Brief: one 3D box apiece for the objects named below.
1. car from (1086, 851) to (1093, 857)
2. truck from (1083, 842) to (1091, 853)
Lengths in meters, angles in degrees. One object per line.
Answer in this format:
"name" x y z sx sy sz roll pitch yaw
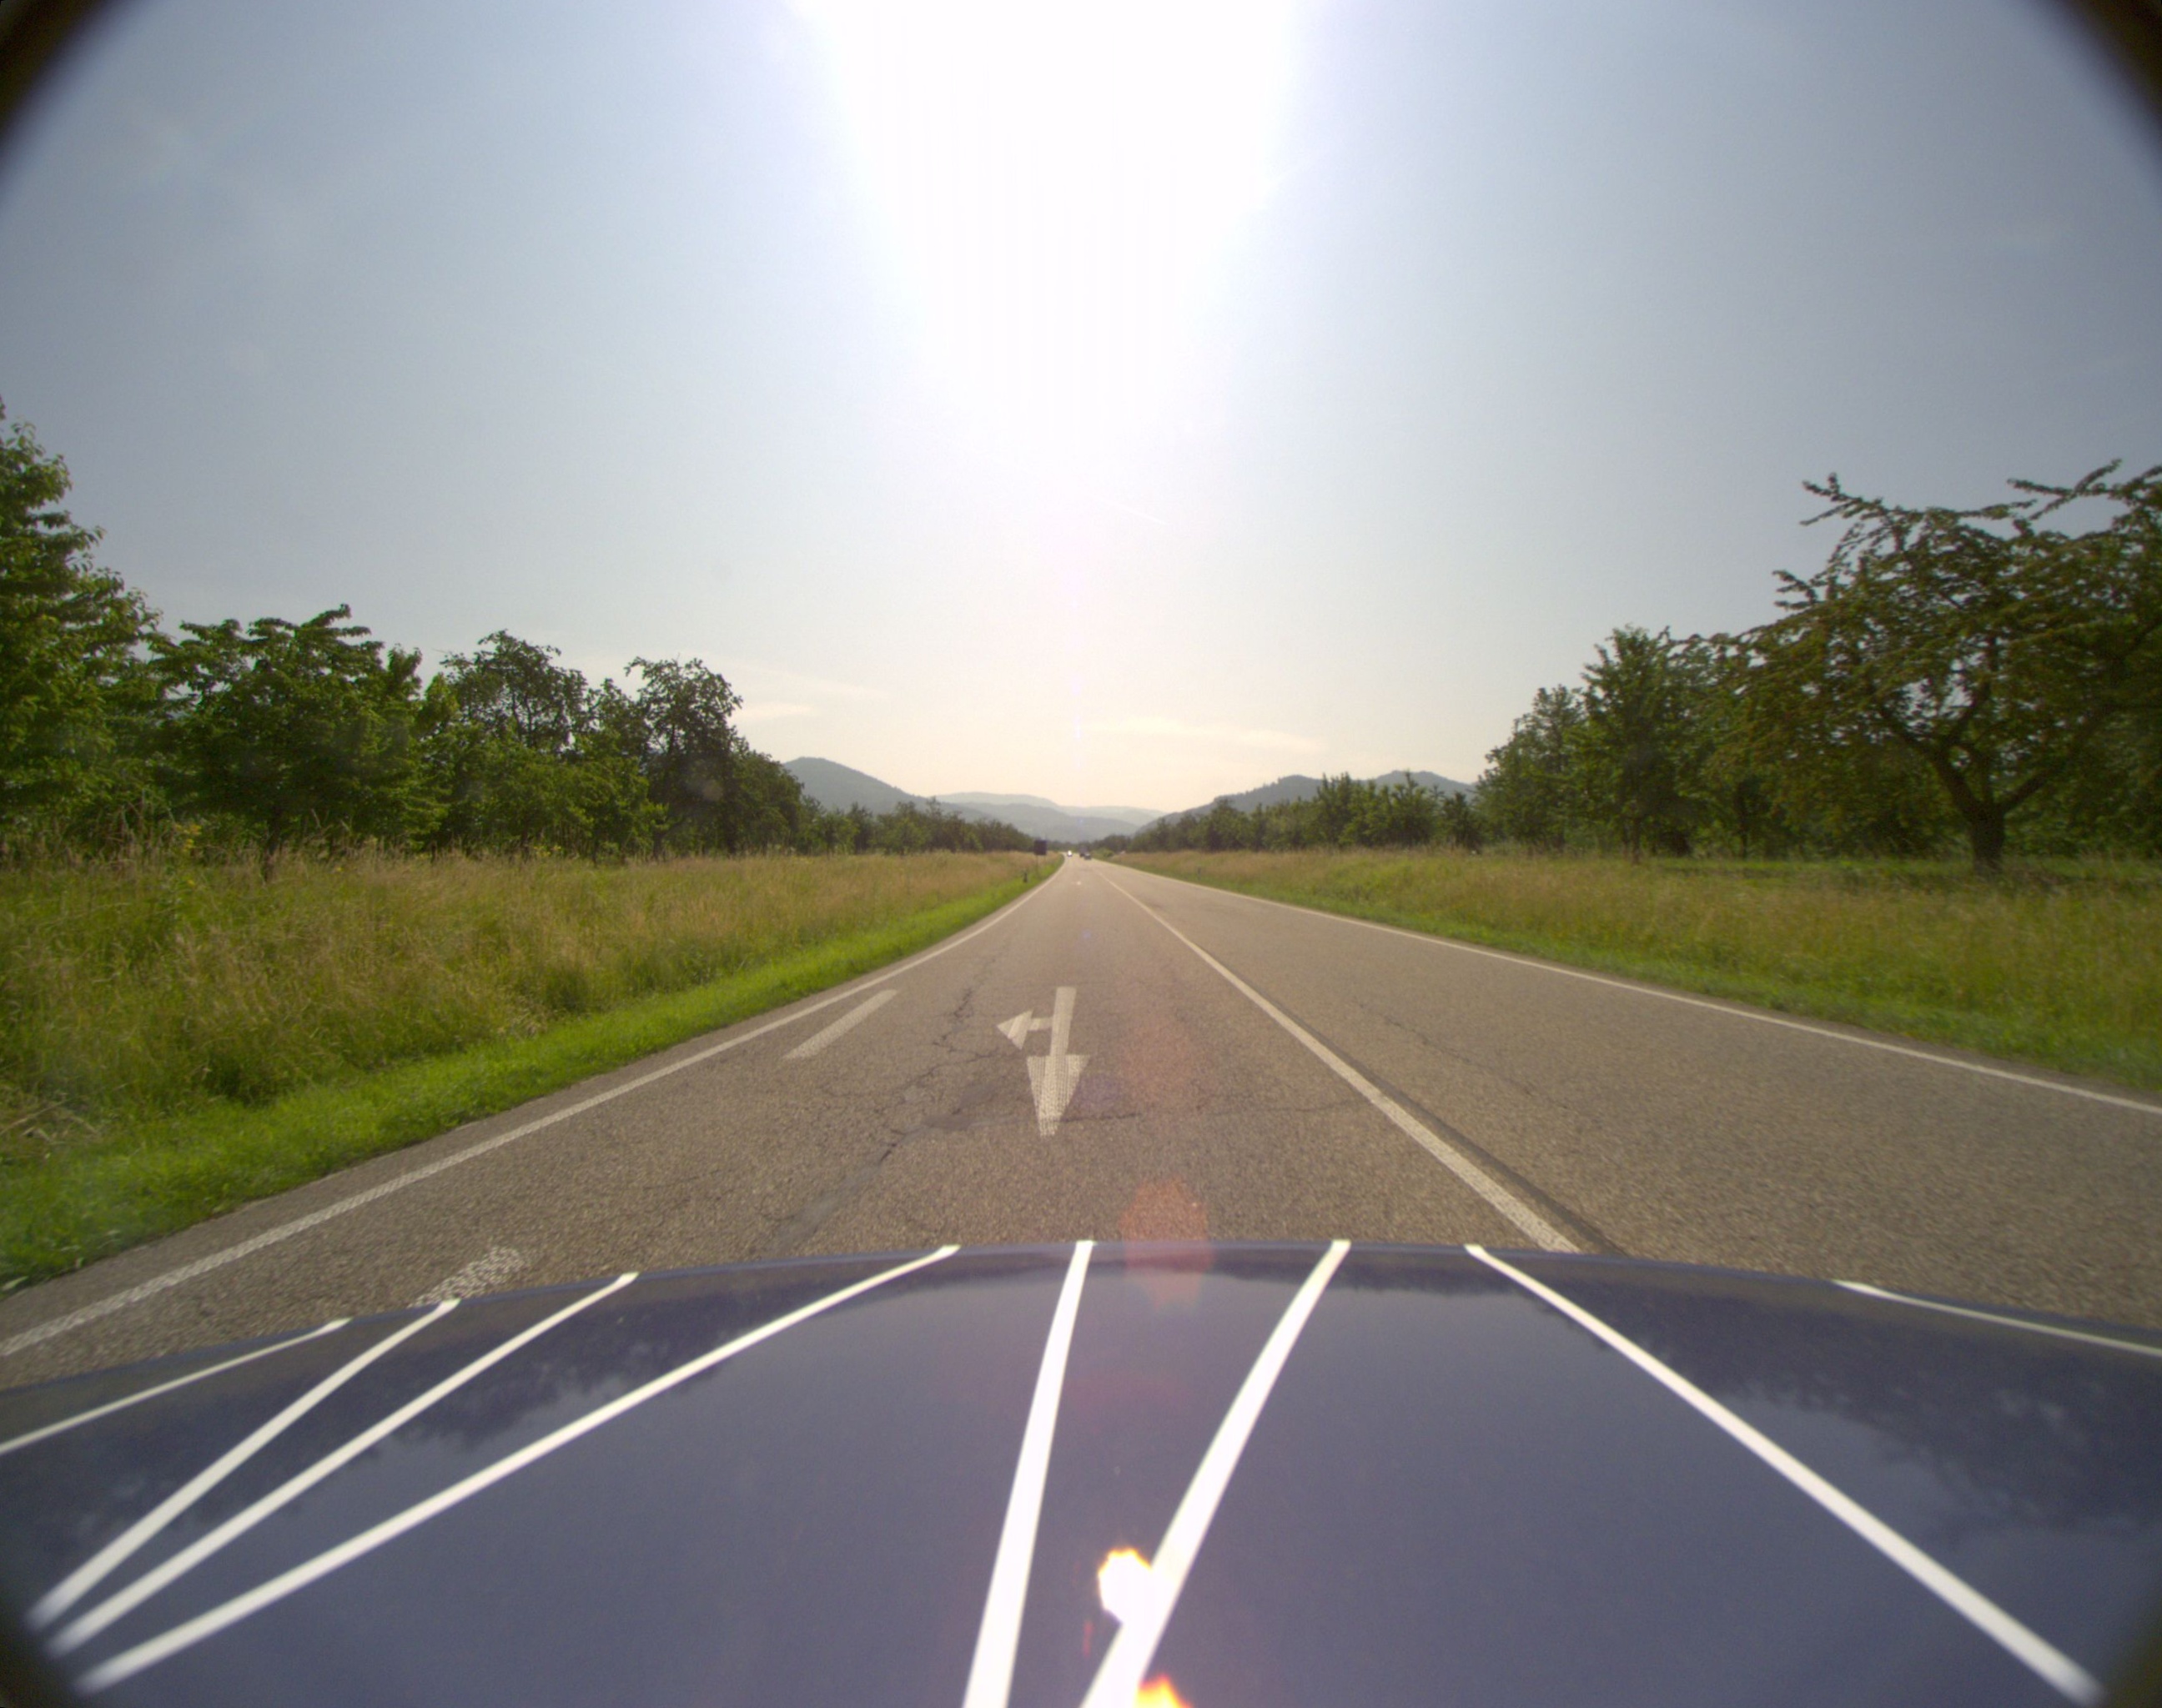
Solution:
"car" 2.219 -0.014 197.462 1.694 1.400 4.893 -1 0 -1
"truck" 1.984 -2.330 262.903 2.672 3.816 10.206 -1 1 -1
